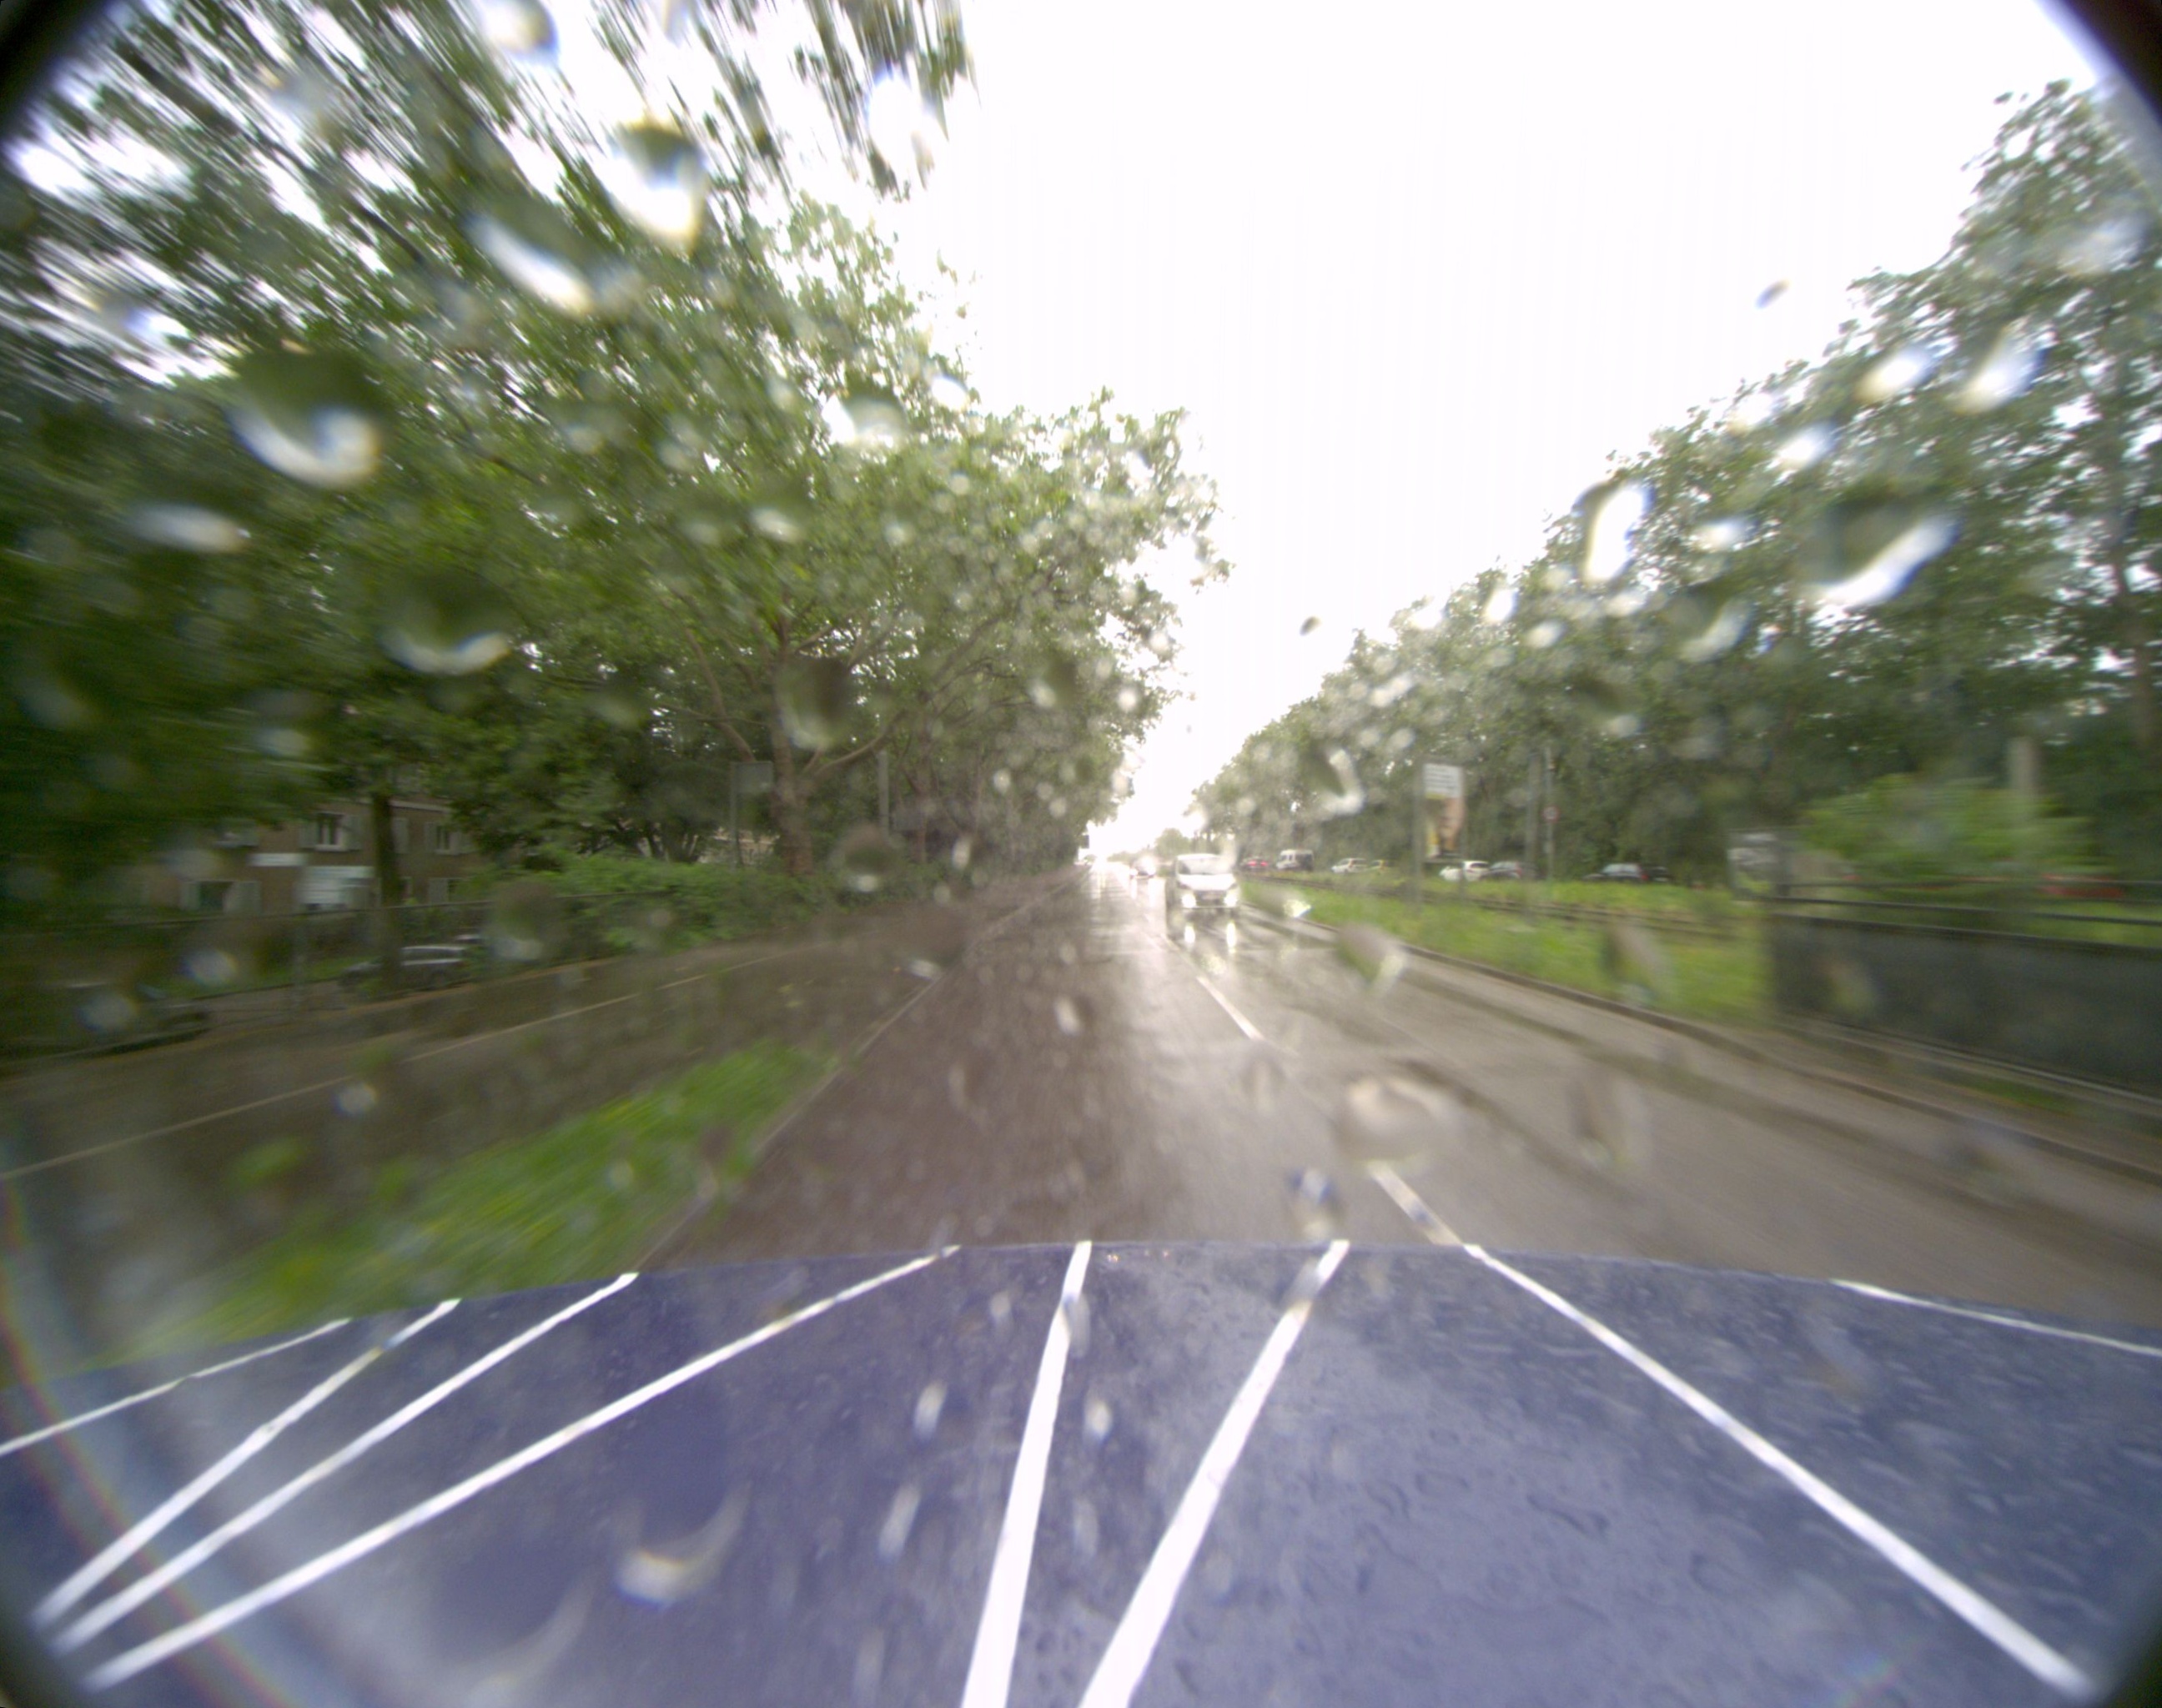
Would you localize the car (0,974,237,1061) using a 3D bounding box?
[{"bbox_3d":[-21.256,3.522,16.565,3.734,1.440,1.766,1,2,1],"label":"car"}]

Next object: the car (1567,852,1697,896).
[{"bbox_3d":[22.902,0.774,31.878,2.037,1.648,4.609,0,0,-1],"label":"car"}]

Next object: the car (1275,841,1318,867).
[{"bbox_3d":[21.786,-0.036,77.130,2.396,2.526,6.565,0,0,-1],"label":"car"}]

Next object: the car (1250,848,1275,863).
[{"bbox_3d":[22.055,0.154,92.511,1.961,1.851,4.640,0,0,1],"label":"car"}]

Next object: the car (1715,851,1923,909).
[{"bbox_3d":[23.058,0.742,24.074,2.037,1.648,4.609,0,0,-1],"label":"car"}]

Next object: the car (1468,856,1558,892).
[{"bbox_3d":[22.705,0.981,40.178,2.037,1.741,4.693,0,0,-1],"label":"car"}]

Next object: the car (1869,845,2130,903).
[{"bbox_3d":[23.095,0.445,19.377,1.740,1.309,3.985,0,0,-3],"label":"car"}]

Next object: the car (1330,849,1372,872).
[{"bbox_3d":[21.890,0.494,61.756,1.755,1.718,4.530,0,0,-1],"label":"car"}]

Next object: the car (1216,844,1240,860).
[{"bbox_3d":[22.063,-0.329,114.242,2.335,2.432,6.138,0,1,0],"label":"car"}]

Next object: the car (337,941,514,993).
[{"bbox_3d":[-21.387,3.682,24.910,4.272,1.440,1.767,1,-1,0],"label":"car"}]

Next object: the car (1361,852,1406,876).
[{"bbox_3d":[22.262,0.720,56.046,1.765,1.638,3.812,0,0,-1],"label":"car"}]

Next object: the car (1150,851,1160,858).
[{"bbox_3d":[19.365,0.110,199.605,1.983,1.558,4.768,0,0,-1],"label":"car"}]

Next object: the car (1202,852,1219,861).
[{"bbox_3d":[22.095,0.366,130.011,2.038,1.543,4.384,0,0,-1],"label":"car"}]

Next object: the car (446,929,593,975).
[{"bbox_3d":[-21.326,3.698,28.959,4.272,1.440,1.766,1,2,0],"label":"car"}]

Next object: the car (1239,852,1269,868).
[{"bbox_3d":[18.122,0.587,79.856,2.019,1.648,4.394,0,0,-1],"label":"car"}]

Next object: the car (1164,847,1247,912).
[{"bbox_3d":[3.424,0.632,21.603,1.869,1.614,4.263,-2,0,3],"label":"car"}]

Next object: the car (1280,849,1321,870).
[{"bbox_3d":[18.075,0.455,62.876,2.037,1.648,4.276,0,0,-2],"label":"car"}]

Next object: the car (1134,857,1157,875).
[{"bbox_3d":[5.336,0.993,63.455,1.726,1.425,3.852,-1,0,2],"label":"car"}]

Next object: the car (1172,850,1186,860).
[{"bbox_3d":[18.438,0.153,143.696,2.037,1.741,4.259,0,0,-1],"label":"car"}]

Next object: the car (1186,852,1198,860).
[{"bbox_3d":[22.212,0.354,152.323,1.890,1.641,4.368,0,0,0],"label":"car"}]

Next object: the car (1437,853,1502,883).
[{"bbox_3d":[22.762,0.807,44.661,1.765,1.638,3.812,0,0,-1],"label":"car"}]
